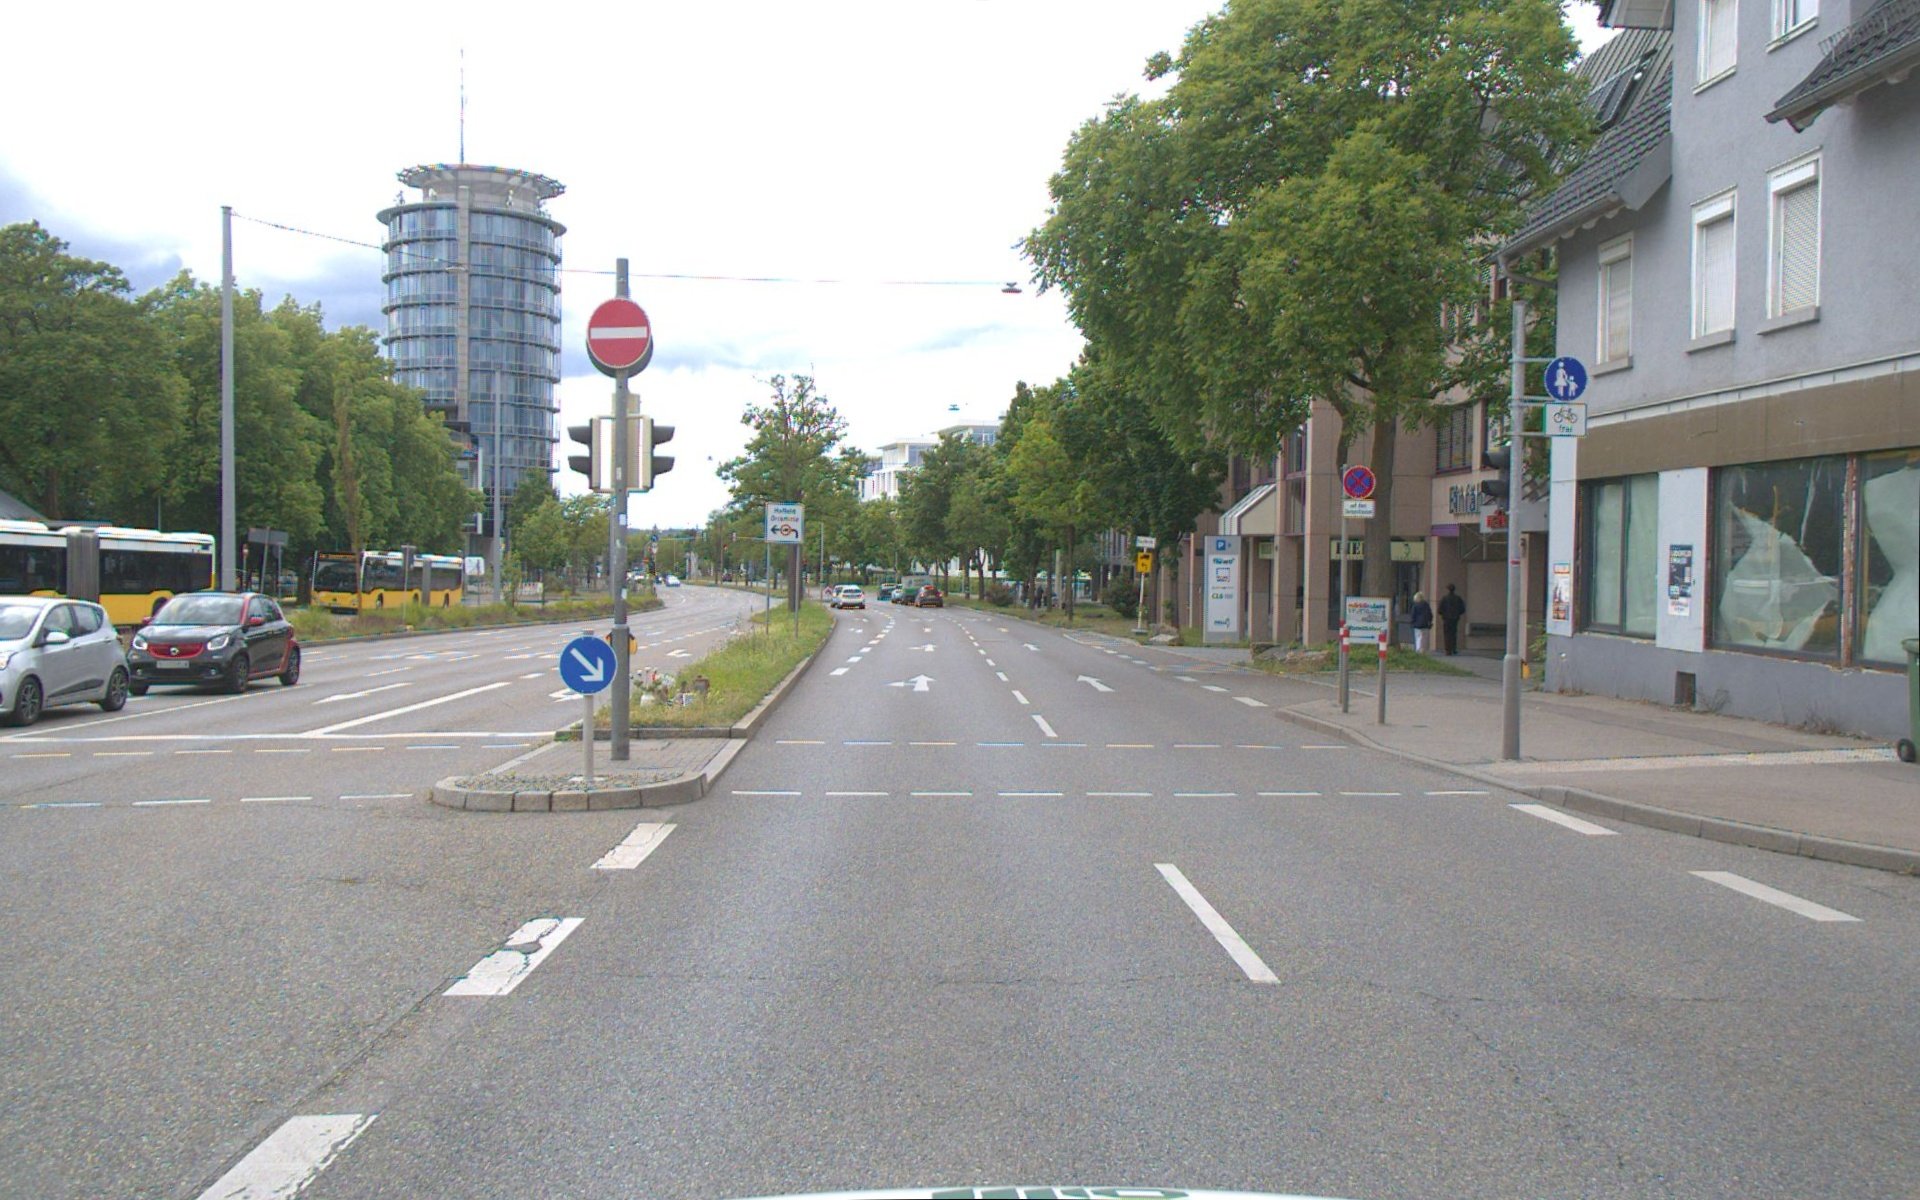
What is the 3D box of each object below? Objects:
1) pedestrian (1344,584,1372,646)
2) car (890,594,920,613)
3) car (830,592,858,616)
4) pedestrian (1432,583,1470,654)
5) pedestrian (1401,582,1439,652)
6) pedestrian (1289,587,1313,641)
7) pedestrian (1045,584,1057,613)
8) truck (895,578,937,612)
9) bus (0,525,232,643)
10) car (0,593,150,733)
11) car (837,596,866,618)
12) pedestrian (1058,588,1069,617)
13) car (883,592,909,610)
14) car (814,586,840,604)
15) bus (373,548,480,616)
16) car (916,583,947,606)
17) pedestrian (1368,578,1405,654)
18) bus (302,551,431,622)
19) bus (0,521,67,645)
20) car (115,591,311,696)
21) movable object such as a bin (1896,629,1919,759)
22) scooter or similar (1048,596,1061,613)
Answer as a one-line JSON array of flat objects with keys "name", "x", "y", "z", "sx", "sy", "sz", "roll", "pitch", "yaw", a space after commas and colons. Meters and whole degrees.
[{"name": "pedestrian", "x": 10.258, "y": 0.378, "z": 42.678, "sx": 0.549, "sy": 1.577, "sz": 0.544, "roll": -1, "pitch": 0, "yaw": -2}, {"name": "car", "x": -4.485, "y": 0.291, "z": 134.163, "sx": 1.956, "sy": 1.534, "sz": 3.992, "roll": 0, "pitch": 0, "yaw": -9}, {"name": "car", "x": -8.358, "y": 0.316, "z": 118.783, "sx": 1.955, "sy": 1.701, "sz": 3.995, "roll": 0, "pitch": 0, "yaw": -5}, {"name": "pedestrian", "x": 12.177, "y": 0.449, "z": 40.997, "sx": 0.644, "sy": 1.720, "sz": 0.842, "roll": -1, "pitch": 0, "yaw": -1}, {"name": "pedestrian", "x": 11.408, "y": 0.421, "z": 41.038, "sx": 0.644, "sy": 1.720, "sz": 0.842, "roll": -1, "pitch": 0, "yaw": -1}, {"name": "pedestrian", "x": 11.108, "y": 0.446, "z": 53.905, "sx": 0.582, "sy": 1.734, "sz": 0.969, "roll": 0, "pitch": 0, "yaw": 1}, {"name": "pedestrian", "x": 5.415, "y": -0.074, "z": 98.518, "sx": 0.545, "sy": 1.681, "sz": 0.959, "roll": -1, "pitch": 0, "yaw": -9}, {"name": "truck", "x": -3.424, "y": -0.349, "z": 126.823, "sx": 2.804, "sy": 2.563, "sz": 6.280, "roll": 0, "pitch": 0, "yaw": -5}, {"name": "bus", "x": -25.786, "y": -0.468, "z": 50.125, "sx": 2.751, "sy": 3.186, "sz": 9.303, "roll": 3, "pitch": 0, "yaw": 3}, {"name": "car", "x": -11.631, "y": 0.698, "z": 20.300, "sx": 1.711, "sy": 1.491, "sz": 3.787, "roll": 1, "pitch": 1, "yaw": -4}, {"name": "car", "x": -7.456, "y": 0.483, "z": 113.524, "sx": 1.827, "sy": 1.474, "sz": 3.995, "roll": 0, "pitch": 0, "yaw": -6}, {"name": "pedestrian", "x": 6.164, "y": 0.135, "z": 98.587, "sx": 0.556, "sy": 1.729, "sz": 0.829, "roll": 0, "pitch": -1, "yaw": -1}, {"name": "car", "x": -5.600, "y": 0.064, "z": 145.124, "sx": 1.955, "sy": 1.534, "sz": 3.994, "roll": 0, "pitch": 0, "yaw": -7}, {"name": "car", "x": -11.400, "y": -0.441, "z": 142.313, "sx": 1.953, "sy": 1.534, "sz": 3.999, "roll": 1, "pitch": 0, "yaw": -1}, {"name": "bus", "x": -30.044, "y": -0.984, "z": 93.622, "sx": 2.970, "sy": 3.516, "sz": 9.908, "roll": 2, "pitch": 0, "yaw": -1}, {"name": "car", "x": -2.019, "y": -0.390, "z": 117.110, "sx": 1.954, "sy": 1.624, "sz": 3.996, "roll": 0, "pitch": 0, "yaw": -4}, {"name": "pedestrian", "x": 10.605, "y": 0.392, "z": 41.118, "sx": 0.644, "sy": 1.858, "sz": 0.842, "roll": -1, "pitch": 0, "yaw": -1}, {"name": "bus", "x": -29.652, "y": -0.662, "z": 83.184, "sx": 3.022, "sy": 3.218, "sz": 10.731, "roll": 2, "pitch": 0, "yaw": -3}, {"name": "bus", "x": -26.197, "y": -0.486, "z": 40.914, "sx": 2.718, "sy": 3.186, "sz": 9.440, "roll": 2, "pitch": 0, "yaw": 2}, {"name": "car", "x": -11.683, "y": 0.652, "z": 26.136, "sx": 1.626, "sy": 1.534, "sz": 3.765, "roll": 0, "pitch": 0, "yaw": -5}, {"name": "movable object such as a bin", "x": 8.595, "y": 0.820, "z": 14.281, "sx": 0.596, "sy": 1.123, "sz": 0.709, "roll": 1, "pitch": 0, "yaw": -2}, {"name": "scooter or similar", "x": 5.573, "y": 0.247, "z": 97.625, "sx": 0.573, "sy": 1.011, "sz": 0.845, "roll": -1, "pitch": 0, "yaw": -9}]
